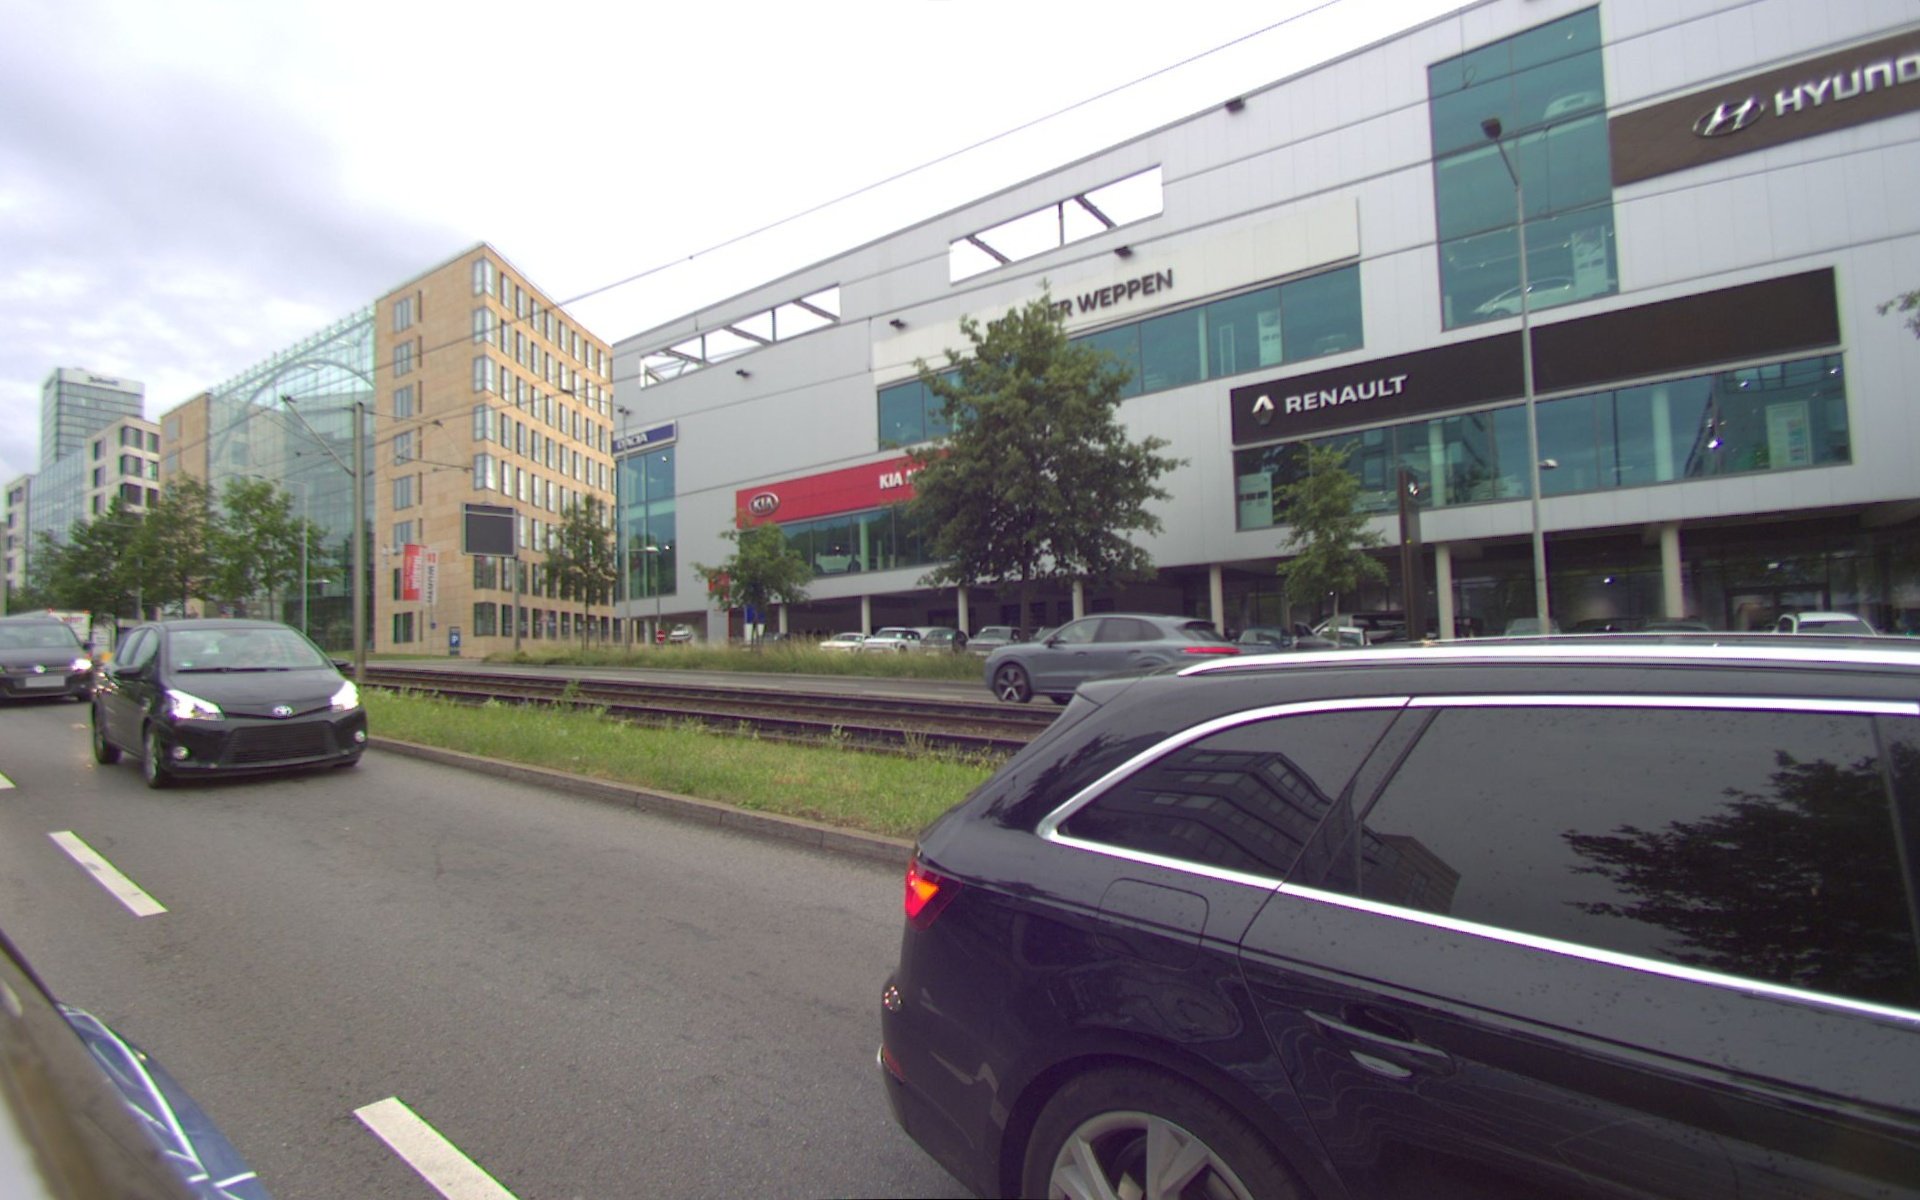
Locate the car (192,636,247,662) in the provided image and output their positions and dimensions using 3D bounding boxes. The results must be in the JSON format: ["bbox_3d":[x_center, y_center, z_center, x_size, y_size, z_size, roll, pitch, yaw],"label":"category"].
[{"bbox_3d":[-46.827,3.087,63.976,4.091,1.593,1.669,-2,-1,36],"label":"car"}]

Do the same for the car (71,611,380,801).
[{"bbox_3d":[-7.478,0.912,10.180,3.824,1.544,1.682,-2,-1,41],"label":"car"}]

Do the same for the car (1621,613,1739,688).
[{"bbox_3d":[18.061,1.201,25.587,1.992,1.562,4.331,-1,1,30],"label":"car"}]

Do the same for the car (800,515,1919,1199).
[{"bbox_3d":[1.911,0.644,1.484,4.511,1.478,1.762,-2,-2,41],"label":"car"}]

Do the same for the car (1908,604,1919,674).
[{"bbox_3d":[22.824,0.947,22.198,1.992,1.627,4.331,-1,1,30],"label":"car"}]

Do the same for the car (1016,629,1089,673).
[{"bbox_3d":[3.502,1.865,37.784,1.688,1.362,3.498,-2,1,24],"label":"car"}]

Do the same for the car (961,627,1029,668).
[{"bbox_3d":[1.426,1.823,39.696,1.686,1.362,3.503,-2,1,20],"label":"car"}]

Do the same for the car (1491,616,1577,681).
[{"bbox_3d":[15.861,1.281,27.973,1.925,1.470,3.981,-1,1,30],"label":"car"}]

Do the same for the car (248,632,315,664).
[{"bbox_3d":[-34.307,2.421,51.130,4.095,1.524,1.569,-2,-4,38],"label":"car"}]

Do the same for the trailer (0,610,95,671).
[{"bbox_3d":[-70.656,3.151,78.074,13.260,4.363,3.104,-2,-4,38],"label":"trailer"}]

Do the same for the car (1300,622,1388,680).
[{"bbox_3d":[11.954,1.531,31.347,1.914,1.470,4.005,-1,1,30],"label":"car"}]

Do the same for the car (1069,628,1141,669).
[{"bbox_3d":[5.250,1.710,36.324,1.688,1.190,3.498,-2,1,24],"label":"car"}]

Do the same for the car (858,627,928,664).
[{"bbox_3d":[-2.791,1.906,42.962,1.685,1.304,3.643,-2,1,18],"label":"car"}]

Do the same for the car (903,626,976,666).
[{"bbox_3d":[-0.784,1.847,41.032,1.688,1.362,3.499,-2,1,23],"label":"car"}]

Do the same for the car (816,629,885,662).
[{"bbox_3d":[-4.781,1.980,44.638,1.685,1.196,3.643,-2,1,18],"label":"car"}]

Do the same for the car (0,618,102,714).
[{"bbox_3d":[-17.892,1.202,19.206,4.314,1.619,1.764,-2,0,40],"label":"car"}]

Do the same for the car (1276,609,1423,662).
[{"bbox_3d":[13.960,1.271,36.499,4.488,1.796,1.997,-1,-1,5],"label":"car"}]

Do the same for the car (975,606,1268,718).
[{"bbox_3d":[2.756,1.066,17.986,4.837,1.733,1.973,-2,-4,41],"label":"car"}]

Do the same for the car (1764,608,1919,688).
[{"bbox_3d":[20.599,1.050,23.811,1.992,1.562,4.331,-1,1,30],"label":"car"}]

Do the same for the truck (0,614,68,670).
[{"bbox_3d":[-74.494,3.392,81.062,7.017,4.276,3.106,-2,-4,37],"label":"truck"}]

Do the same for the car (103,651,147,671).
[{"bbox_3d":[-63.182,4.617,76.550,4.018,1.380,1.668,-2,-2,37],"label":"car"}]
